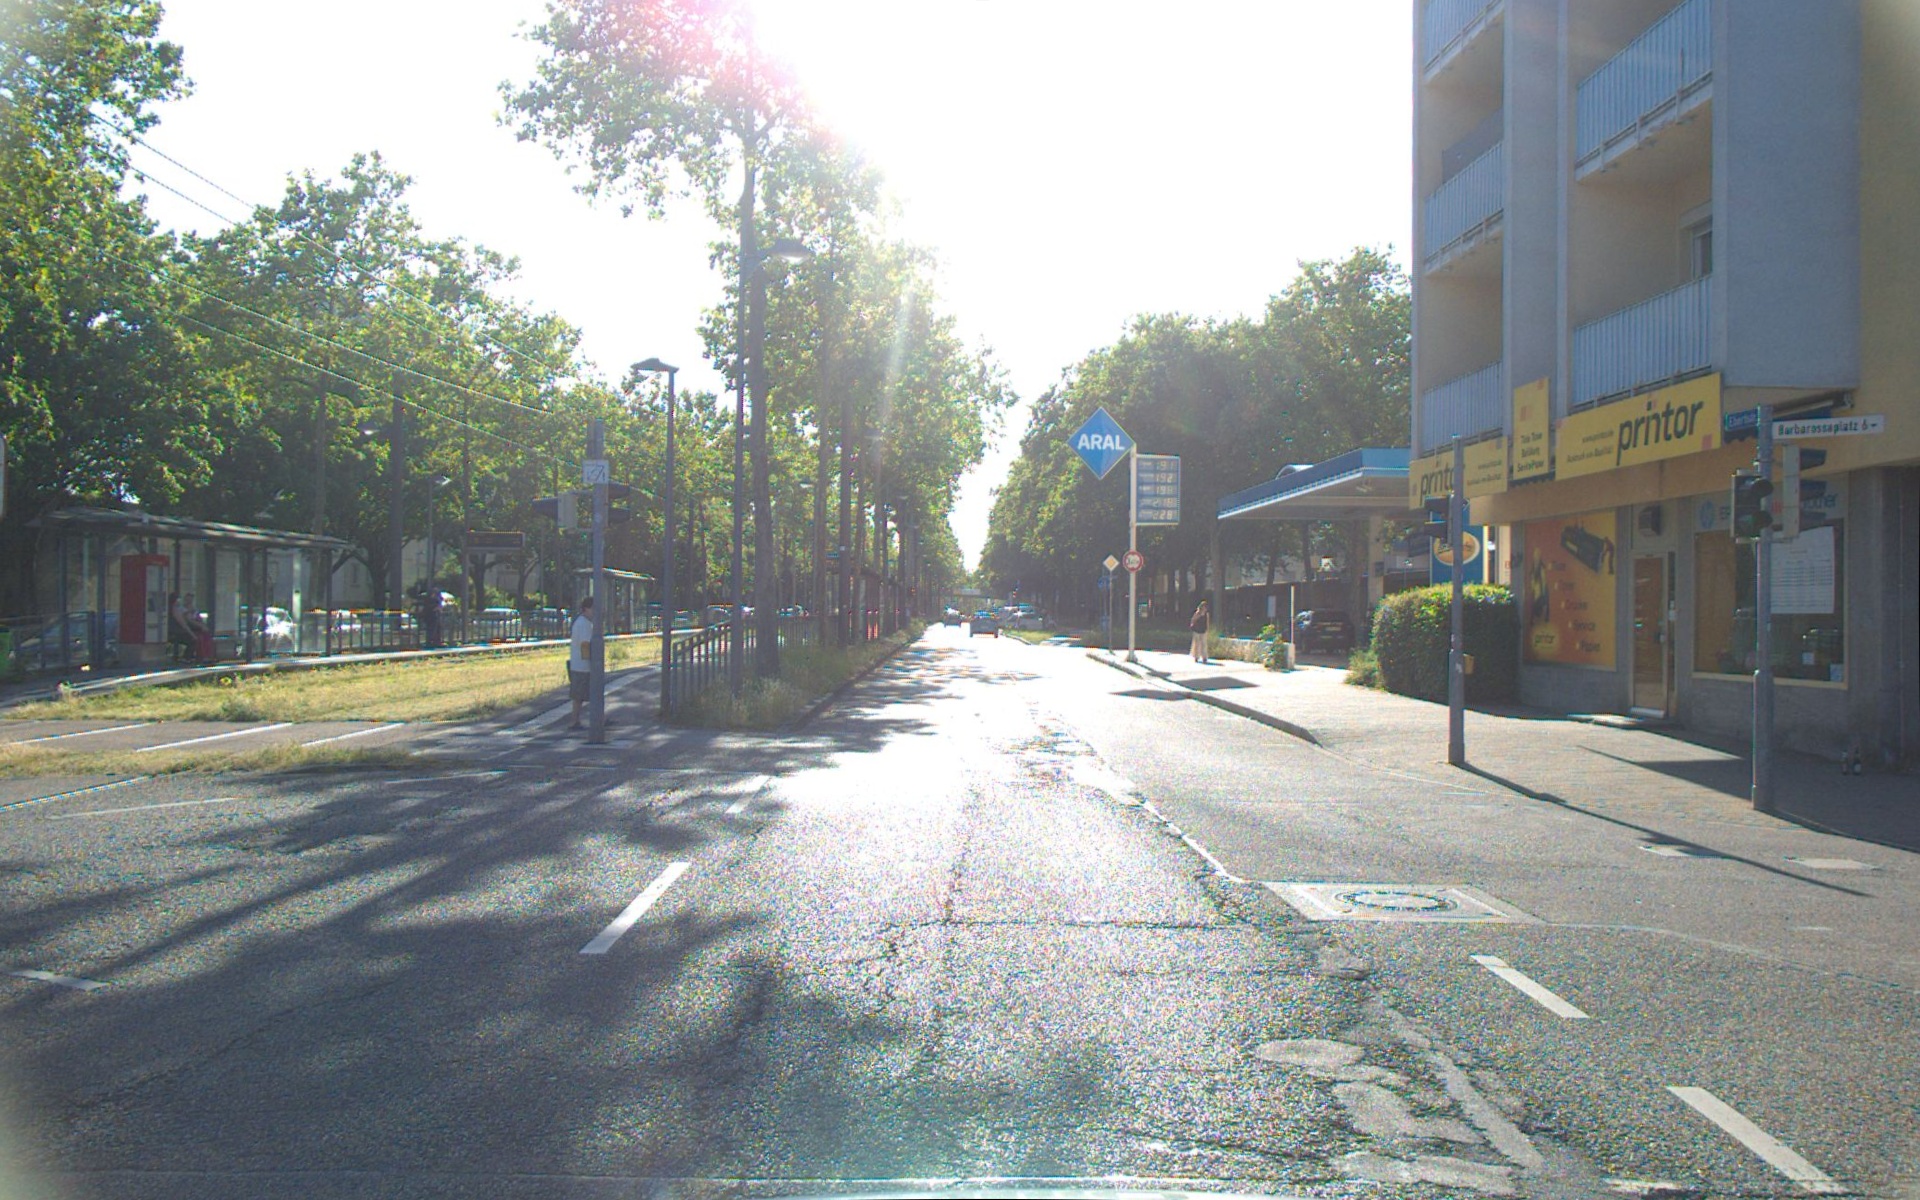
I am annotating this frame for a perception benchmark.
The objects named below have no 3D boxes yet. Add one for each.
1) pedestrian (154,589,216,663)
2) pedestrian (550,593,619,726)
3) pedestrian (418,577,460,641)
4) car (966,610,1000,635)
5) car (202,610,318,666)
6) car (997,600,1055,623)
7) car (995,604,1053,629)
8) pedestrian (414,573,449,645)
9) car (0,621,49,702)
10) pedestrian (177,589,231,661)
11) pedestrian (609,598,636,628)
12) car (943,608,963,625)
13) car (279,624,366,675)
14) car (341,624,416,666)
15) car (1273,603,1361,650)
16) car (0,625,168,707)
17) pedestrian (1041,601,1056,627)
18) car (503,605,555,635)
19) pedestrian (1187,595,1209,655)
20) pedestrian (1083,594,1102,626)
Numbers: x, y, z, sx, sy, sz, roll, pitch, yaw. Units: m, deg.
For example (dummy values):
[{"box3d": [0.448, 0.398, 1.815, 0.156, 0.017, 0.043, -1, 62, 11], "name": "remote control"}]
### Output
[{"box3d": [-14.415, 0.474, 30.767, 0.716, 1.365, 0.774, 0, 0, 14], "name": "pedestrian"}, {"box3d": [-4.505, 0.701, 19.850, 0.654, 1.555, 0.532, 1, -1, -38], "name": "pedestrian"}, {"box3d": [-14.172, 0.251, 44.988, 0.865, 1.719, 0.754, 1, 0, 0], "name": "pedestrian"}, {"box3d": [1.369, 1.323, 99.492, 1.883, 1.436, 3.999, 1, 0, -1], "name": "car"}, {"box3d": [-19.685, 1.034, 46.660, 1.561, 1.470, 3.930, 0, 0, 1], "name": "car"}, {"box3d": [4.866, 0.867, 121.519, 3.947, 1.495, 1.742, -3, 0, -32], "name": "car"}, {"box3d": [5.120, 1.314, 132.008, 4.628, 1.885, 1.804, -1, 0, -41], "name": "car"}, {"box3d": [-14.084, 0.250, 44.087, 0.705, 1.900, 0.637, 1, 0, 0], "name": "pedestrian"}, {"box3d": [-15.272, 0.950, 25.038, 1.297, 1.225, 2.965, 0, 0, 0], "name": "car"}, {"box3d": [-14.449, 0.476, 31.640, 0.679, 1.365, 0.734, 0, 0, 1], "name": "pedestrian"}, {"box3d": [-14.606, 0.571, 71.565, 0.821, 1.283, 0.798, 1, 0, 28], "name": "pedestrian"}, {"box3d": [-0.619, 1.546, 153.585, 1.811, 1.562, 3.866, 0, 0, 0], "name": "car"}, {"box3d": [-22.444, 1.711, 58.370, 1.561, 1.664, 3.929, 0, 0, -1], "name": "car"}, {"box3d": [-22.778, 1.737, 64.892, 1.561, 1.514, 4.019, 0, 0, -1], "name": "car"}, {"box3d": [11.804, 0.865, 54.922, 1.687, 1.489, 4.000, 0, 0, -6], "name": "car"}, {"box3d": [-17.025, 1.239, 32.244, 1.573, 1.452, 3.535, 0, 0, -2], "name": "car"}, {"box3d": [5.907, 0.931, 110.130, 0.704, 1.736, 0.646, -1, -1, -35], "name": "pedestrian"}, {"box3d": [-23.568, 1.080, 90.590, 1.678, 1.573, 4.201, 0, 0, 1], "name": "car"}, {"box3d": [6.829, 0.711, 47.457, 0.591, 1.731, 0.553, 0, 0, 4], "name": "pedestrian"}, {"box3d": [7.942, 0.577, 99.068, 0.909, 1.918, 0.797, 0, 0, -14], "name": "pedestrian"}]
